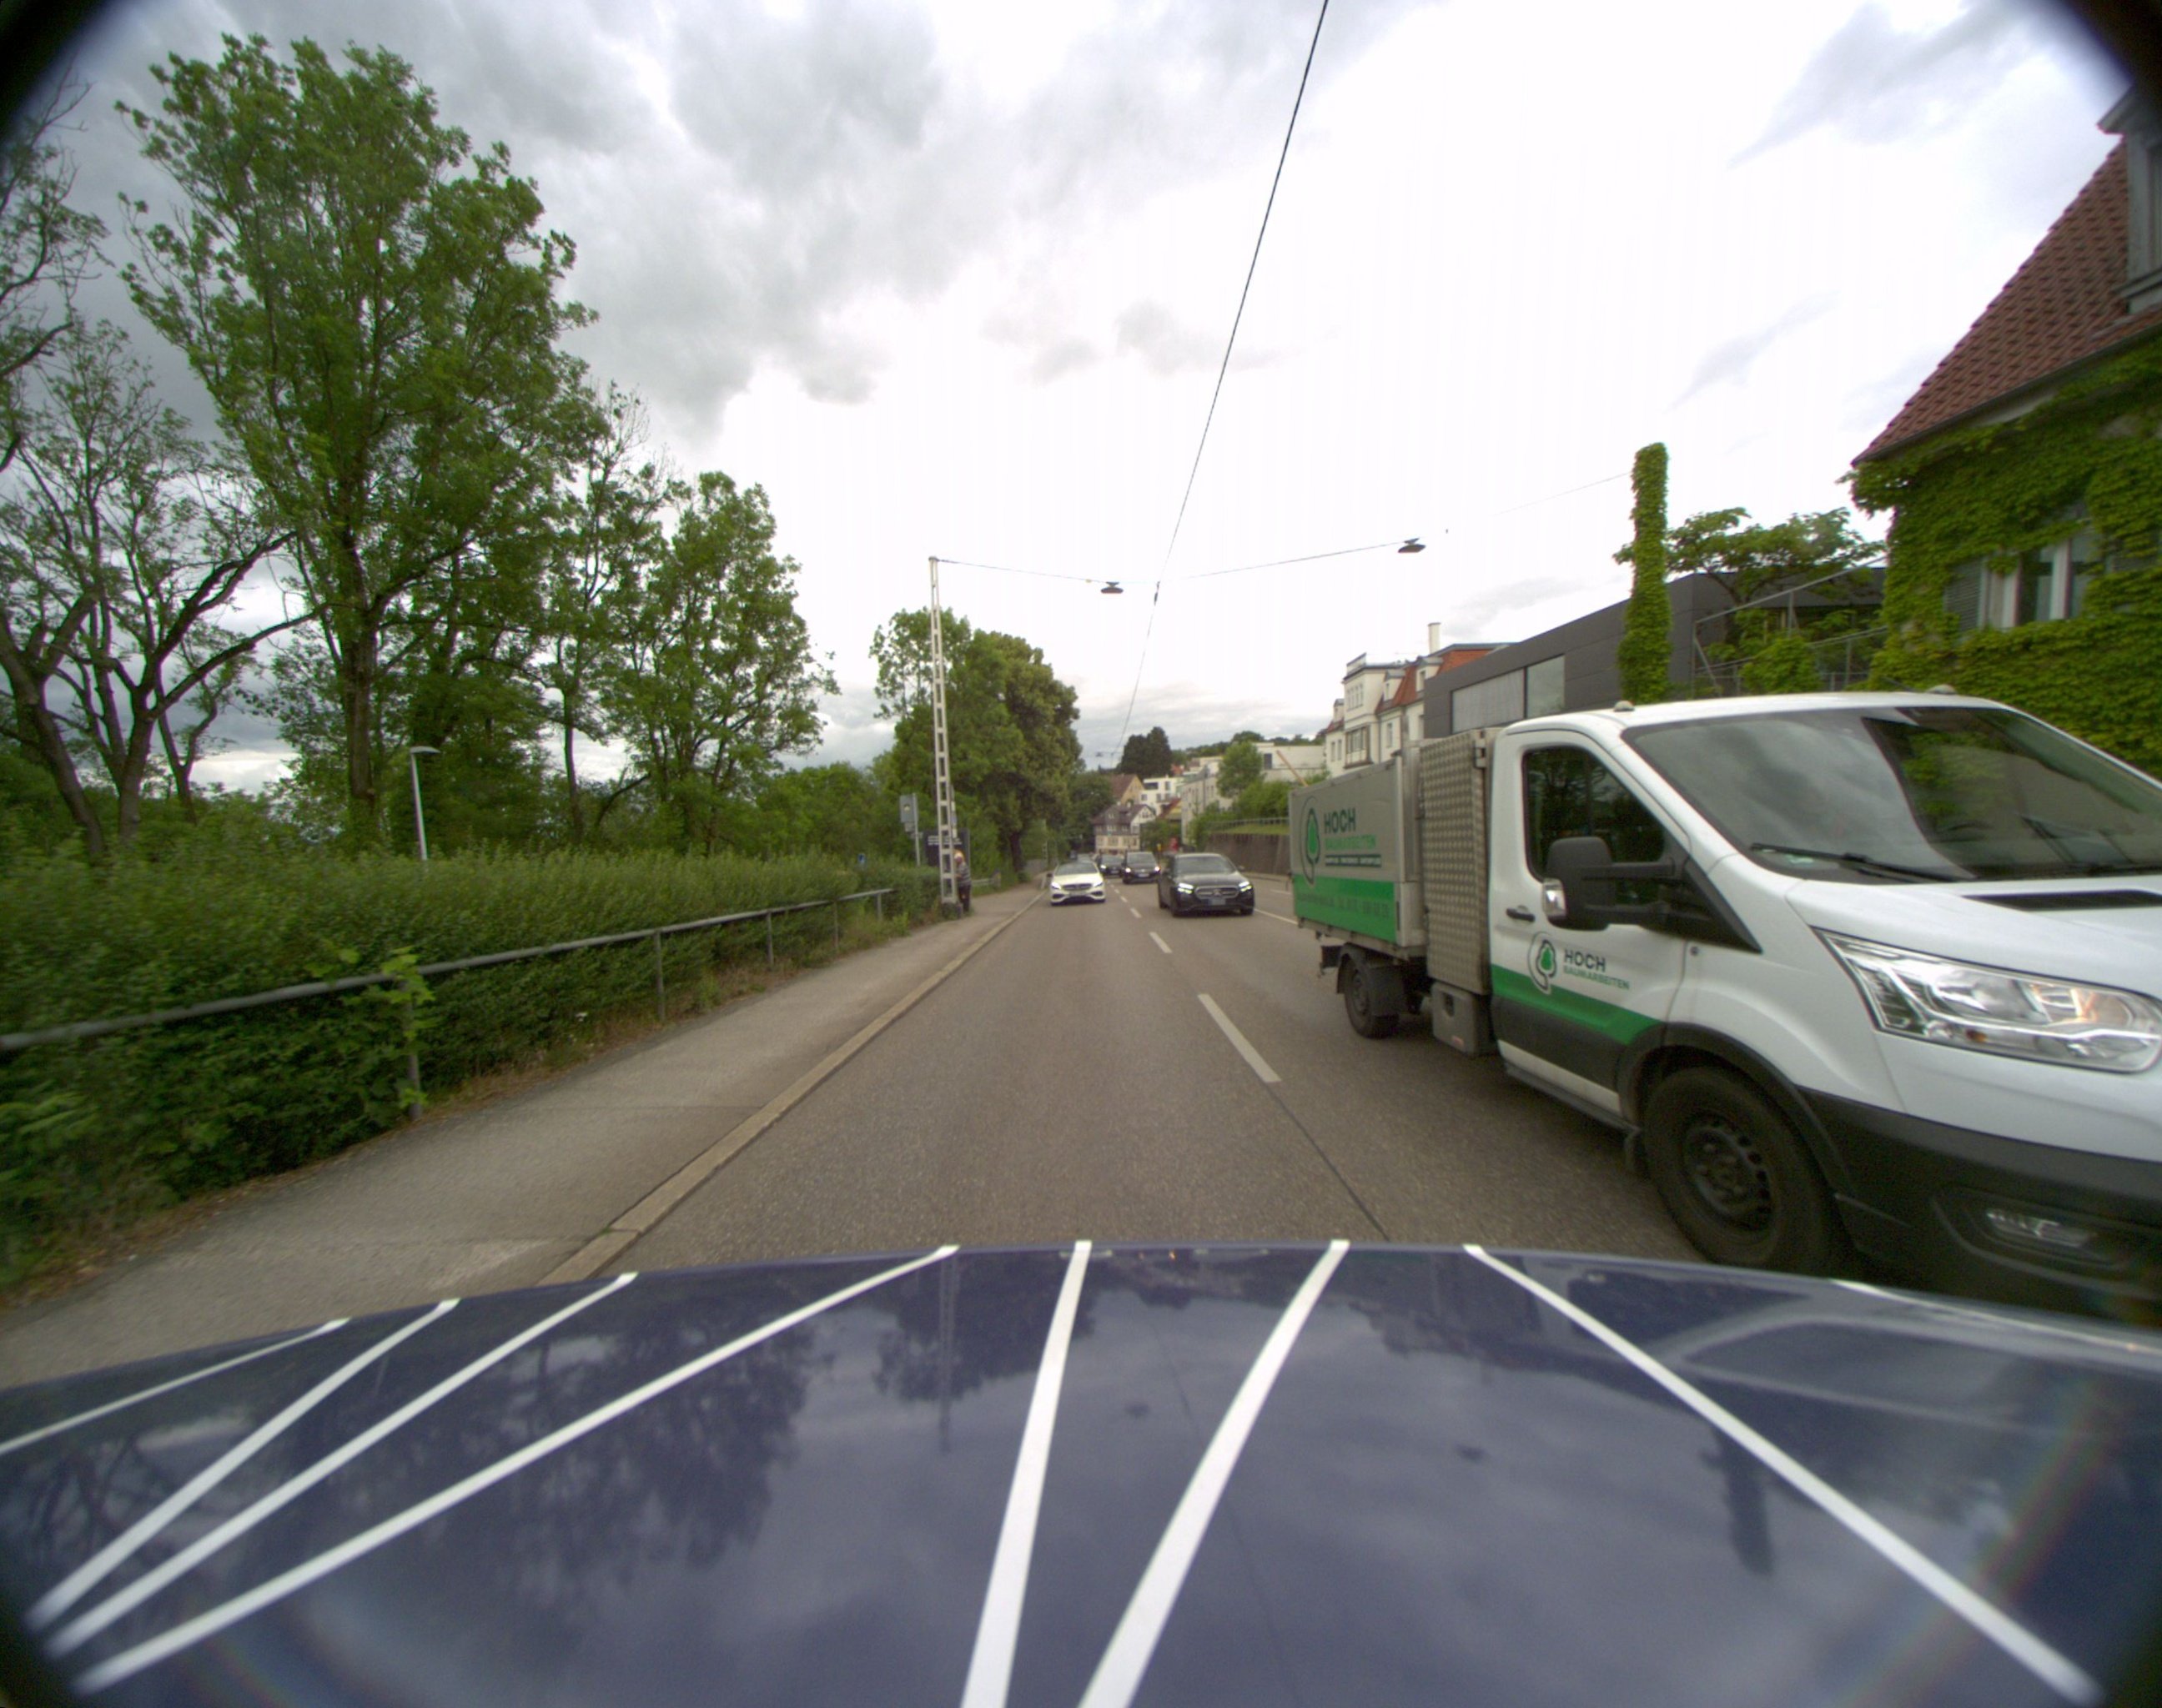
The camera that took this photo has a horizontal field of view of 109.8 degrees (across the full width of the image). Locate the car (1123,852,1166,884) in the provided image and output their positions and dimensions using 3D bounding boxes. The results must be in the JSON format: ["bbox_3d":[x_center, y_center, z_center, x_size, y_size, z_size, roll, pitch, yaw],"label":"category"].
[{"bbox_3d":[3.240,0.674,39.439,1.878,1.521,4.000,-2,0,1],"label":"car"}]

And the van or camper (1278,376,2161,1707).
[{"bbox_3d":[3.156,0.275,4.298,2.349,2.647,5.961,-3,2,-1],"label":"van or camper"}]

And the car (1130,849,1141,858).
[{"bbox_3d":[10.282,-0.099,143.534,1.709,1.702,3.868,-2,0,1],"label":"car"}]

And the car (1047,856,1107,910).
[{"bbox_3d":[-0.097,0.914,26.022,1.809,1.521,4.000,-5,0,1],"label":"car"}]

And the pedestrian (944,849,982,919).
[{"bbox_3d":[-3.222,0.797,20.802,0.814,1.873,0.949,-1,1,5],"label":"pedestrian"}]

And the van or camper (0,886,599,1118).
[{"bbox_3d":[-10.927,1.794,11.717,2.220,2.316,6.184,-1,0,11],"label":"van or camper"}]

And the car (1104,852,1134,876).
[{"bbox_3d":[2.553,0.660,51.883,1.878,1.521,4.000,-2,0,1],"label":"car"}]

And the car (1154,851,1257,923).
[{"bbox_3d":[2.991,0.737,19.105,1.878,1.521,4.335,-2,0,1],"label":"car"}]

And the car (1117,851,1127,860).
[{"bbox_3d":[8.000,0.280,146.954,1.709,1.702,3.868,-2,0,1],"label":"car"}]
